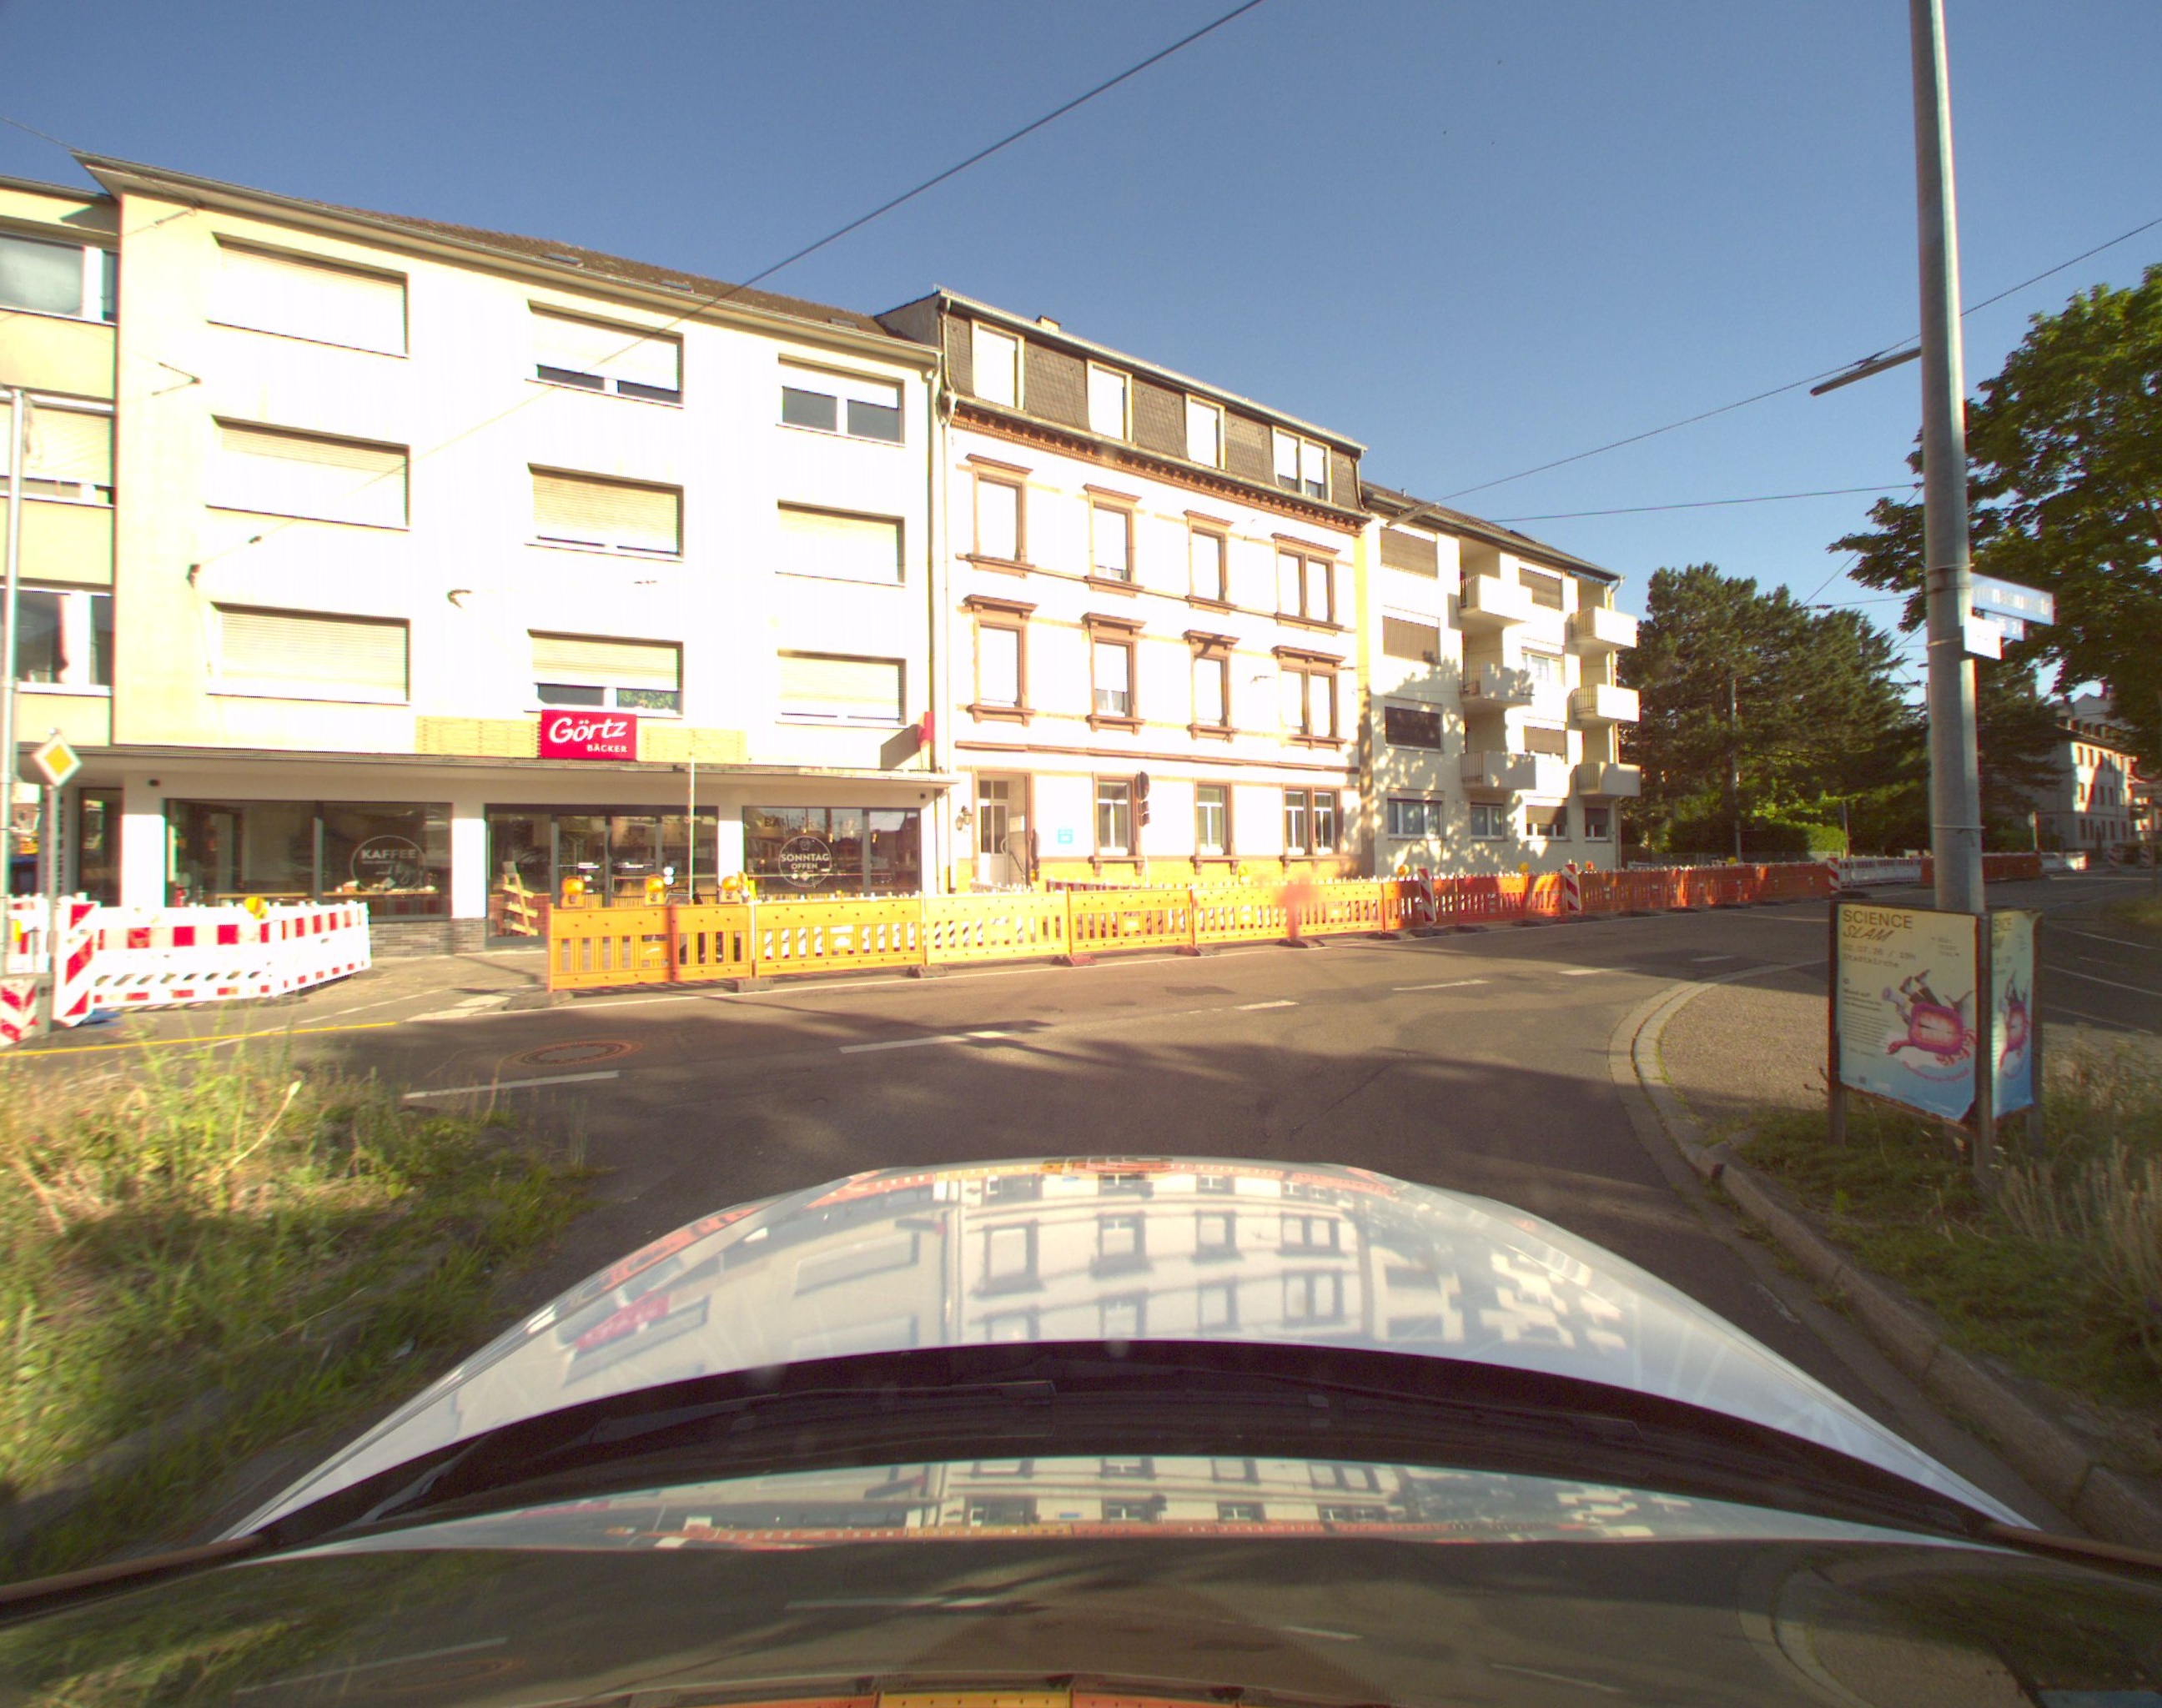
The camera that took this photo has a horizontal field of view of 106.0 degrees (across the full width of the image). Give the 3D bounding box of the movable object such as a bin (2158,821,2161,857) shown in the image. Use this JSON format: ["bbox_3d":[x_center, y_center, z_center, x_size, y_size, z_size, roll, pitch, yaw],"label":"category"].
[{"bbox_3d":[90.113,-1.251,66.679,4.016,2.898,2.070,-1,-1,-34],"label":"movable object such as a bin"}]

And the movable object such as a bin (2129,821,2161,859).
[{"bbox_3d":[83.898,-1.106,63.671,4.016,2.898,2.070,-1,-1,-34],"label":"movable object such as a bin"}]

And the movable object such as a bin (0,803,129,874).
[{"bbox_3d":[-39.524,-0.523,30.982,1.951,2.494,4.530,-1,-1,-13],"label":"movable object such as a bin"}]
